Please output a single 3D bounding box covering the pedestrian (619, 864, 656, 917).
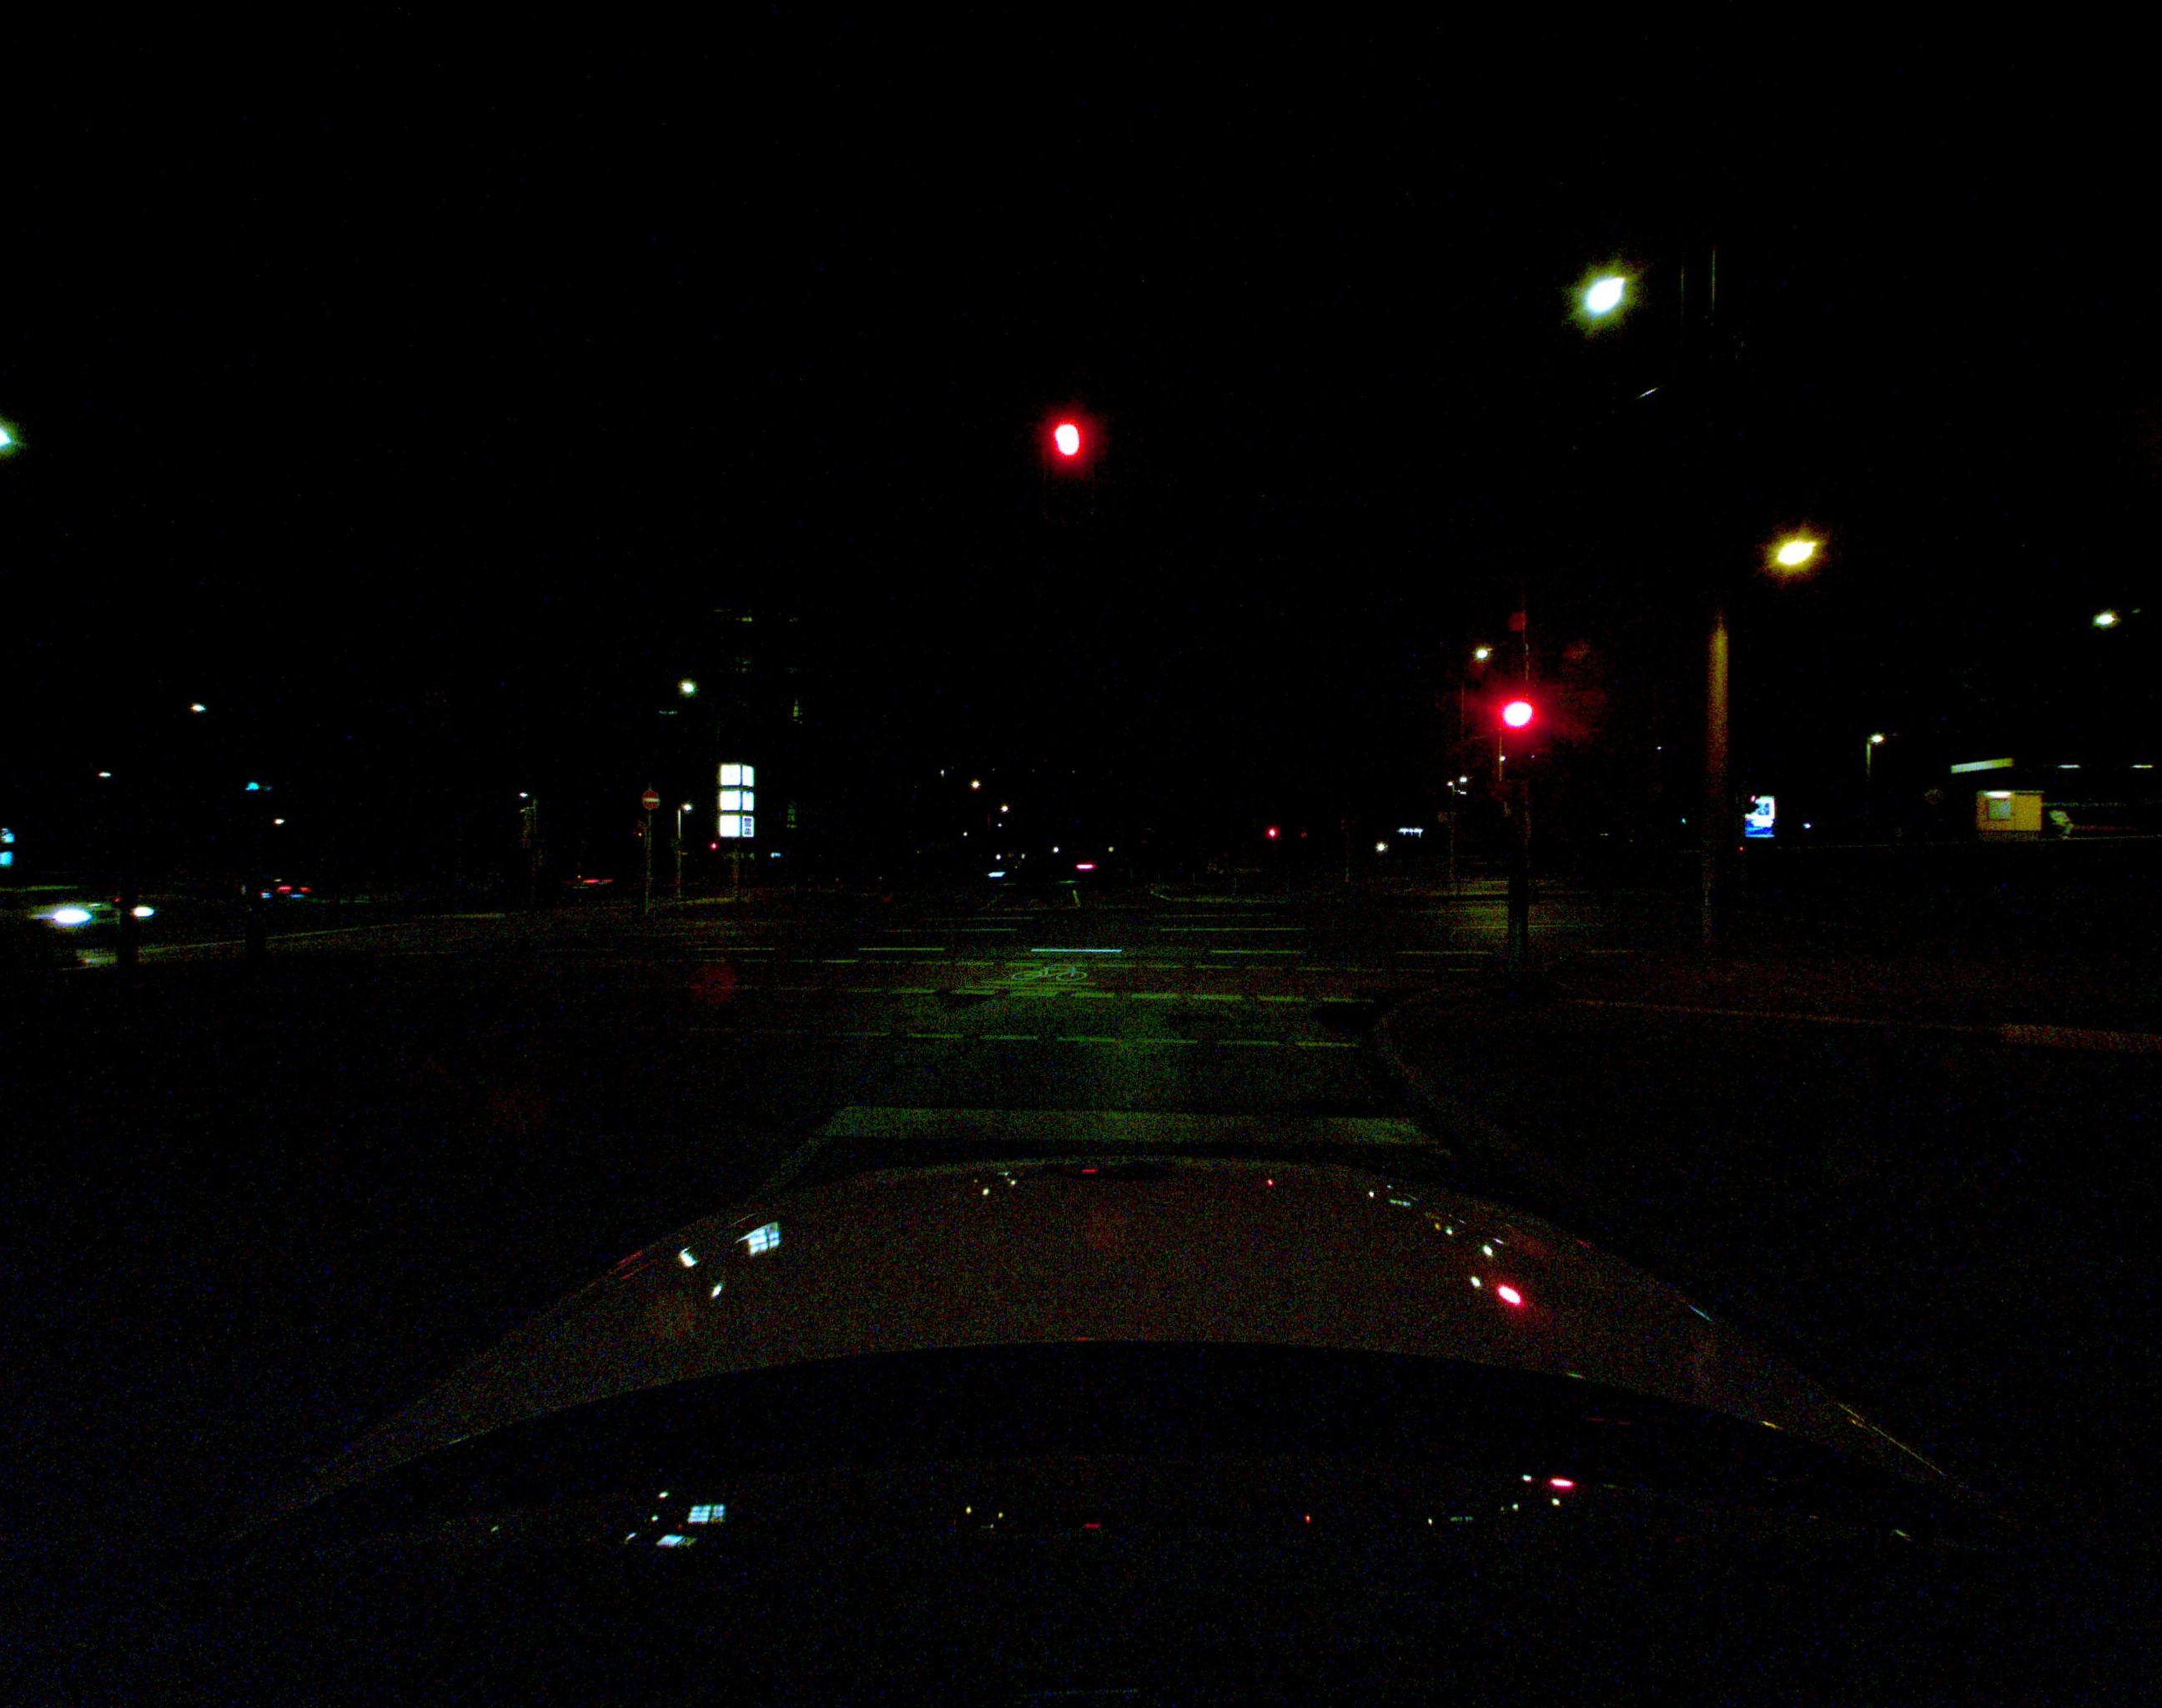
[{"bbox_3d":[-13.823,1.131,25.408,0.667,1.634,0.862,0,-1,-3],"label":"pedestrian"}]

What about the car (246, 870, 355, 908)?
[{"bbox_3d":[-42.267,1.888,44.145,3.971,2.014,2.001,0,-1,2],"label":"car"}]

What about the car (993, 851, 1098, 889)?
[{"bbox_3d":[-1.593,0.737,37.799,4.595,1.728,2.003,0,-1,5],"label":"car"}]

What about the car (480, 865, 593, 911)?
[{"bbox_3d":[-26.641,1.621,39.898,4.163,1.974,2.002,-3,-1,4],"label":"car"}]

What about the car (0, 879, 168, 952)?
[{"bbox_3d":[-26.905,1.587,21.283,4.260,1.683,1.879,-2,1,7],"label":"car"}]

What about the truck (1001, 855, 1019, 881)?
[{"bbox_3d":[-10.466,1.966,119.682,2.580,3.707,5.723,0,-1,-7],"label":"truck"}]

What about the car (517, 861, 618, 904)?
[{"bbox_3d":[-27.178,1.508,43.201,3.971,2.014,2.001,-3,-1,2],"label":"car"}]

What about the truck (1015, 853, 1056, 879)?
[{"bbox_3d":[-8.550,2.233,151.646,4.835,4.547,12.591,0,-1,-17],"label":"truck"}]

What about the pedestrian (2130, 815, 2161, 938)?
[{"bbox_3d":[15.819,0.298,11.498,0.752,1.745,0.834,-3,-3,1],"label":"pedestrian"}]

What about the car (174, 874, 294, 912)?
[{"bbox_3d":[-42.898,1.972,41.302,4.137,1.813,1.843,-1,-1,1],"label":"car"}]

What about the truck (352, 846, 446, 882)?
[{"bbox_3d":[-59.634,0.882,71.291,5.873,3.088,2.915,0,-1,3],"label":"truck"}]
